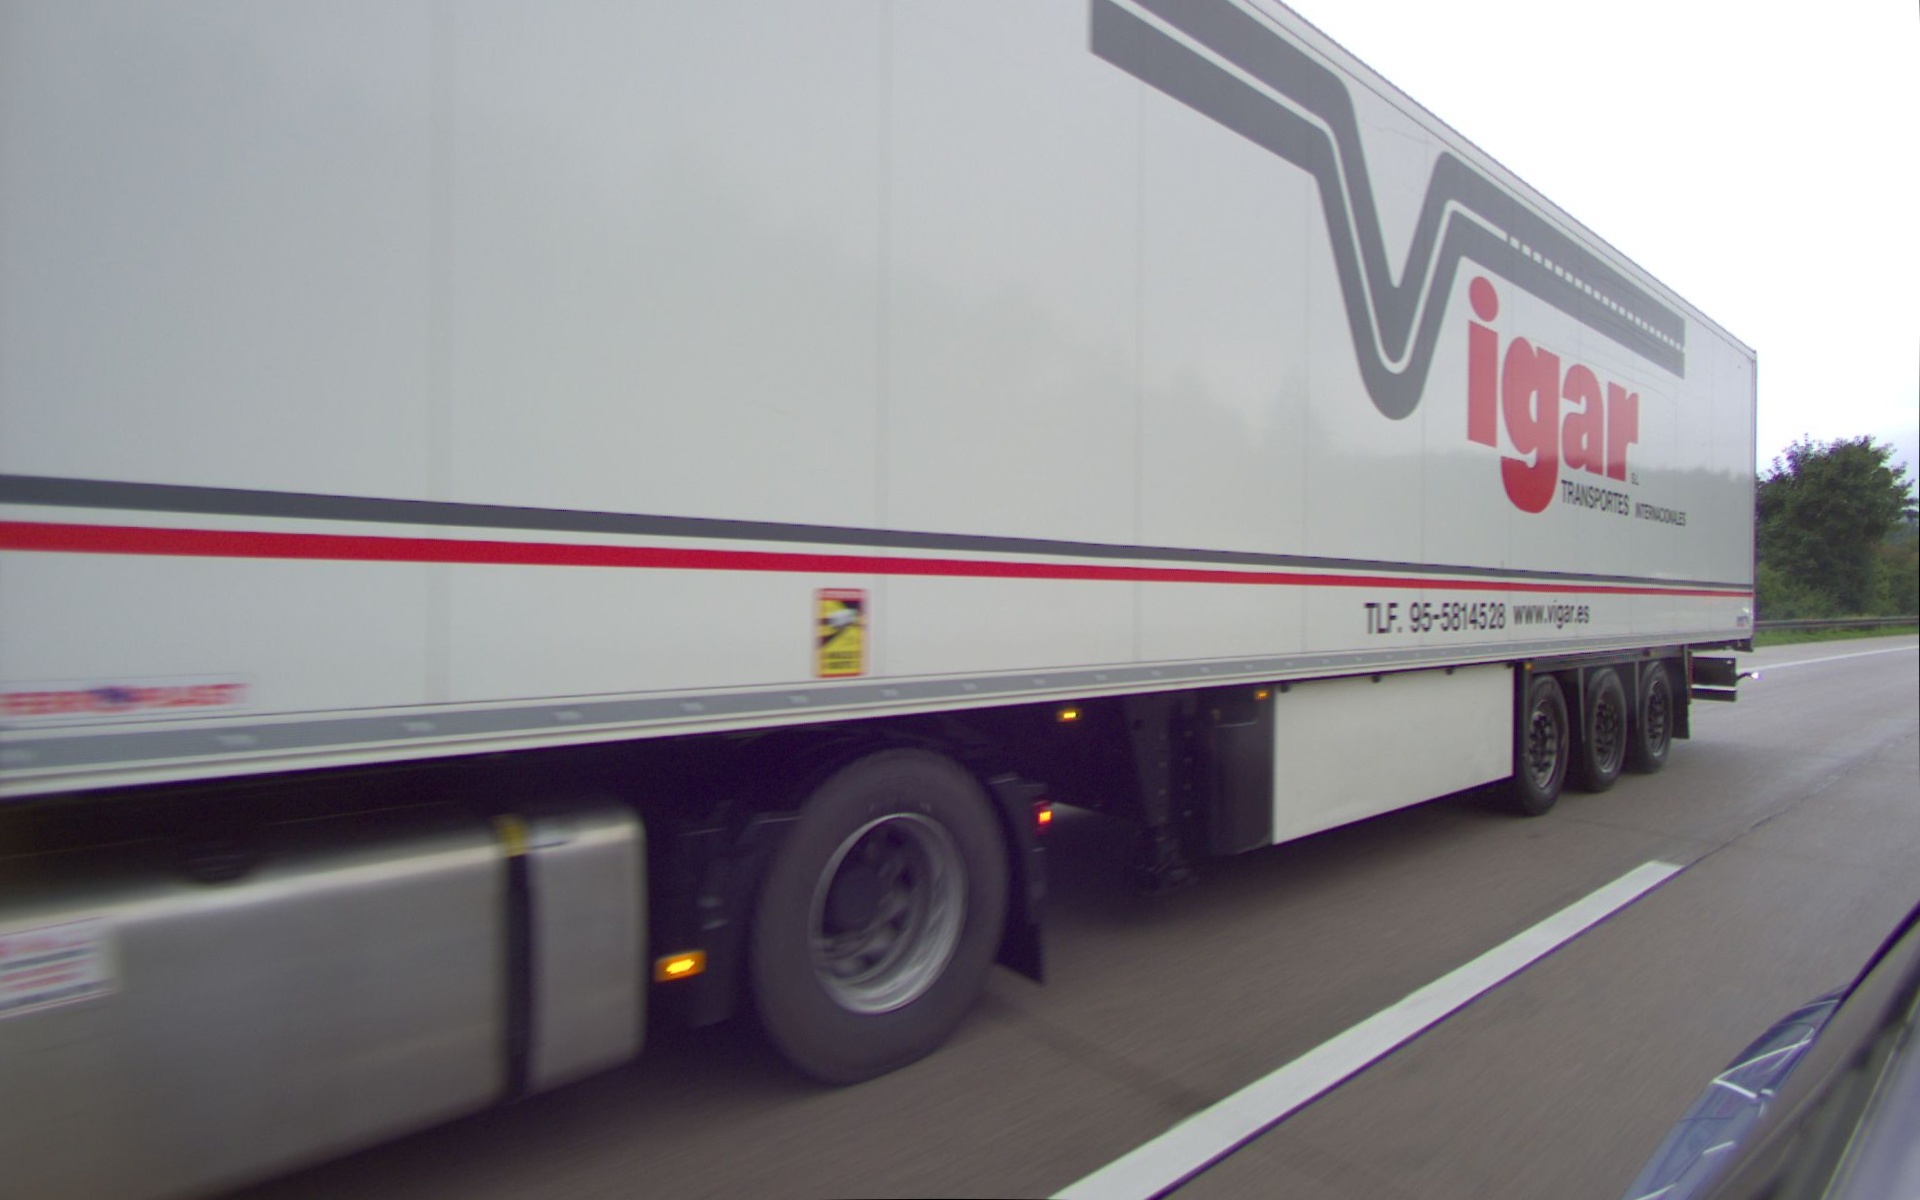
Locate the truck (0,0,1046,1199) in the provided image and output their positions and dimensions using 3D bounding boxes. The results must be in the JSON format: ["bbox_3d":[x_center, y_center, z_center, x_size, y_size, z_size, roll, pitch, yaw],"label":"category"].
[{"bbox_3d":[-2.834,-0.710,2.217,5.865,4.155,2.802,0,0,-42],"label":"truck"}]

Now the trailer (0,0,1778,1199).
[{"bbox_3d":[2.453,-0.722,6.904,13.446,4.155,2.738,0,0,-42],"label":"trailer"}]
